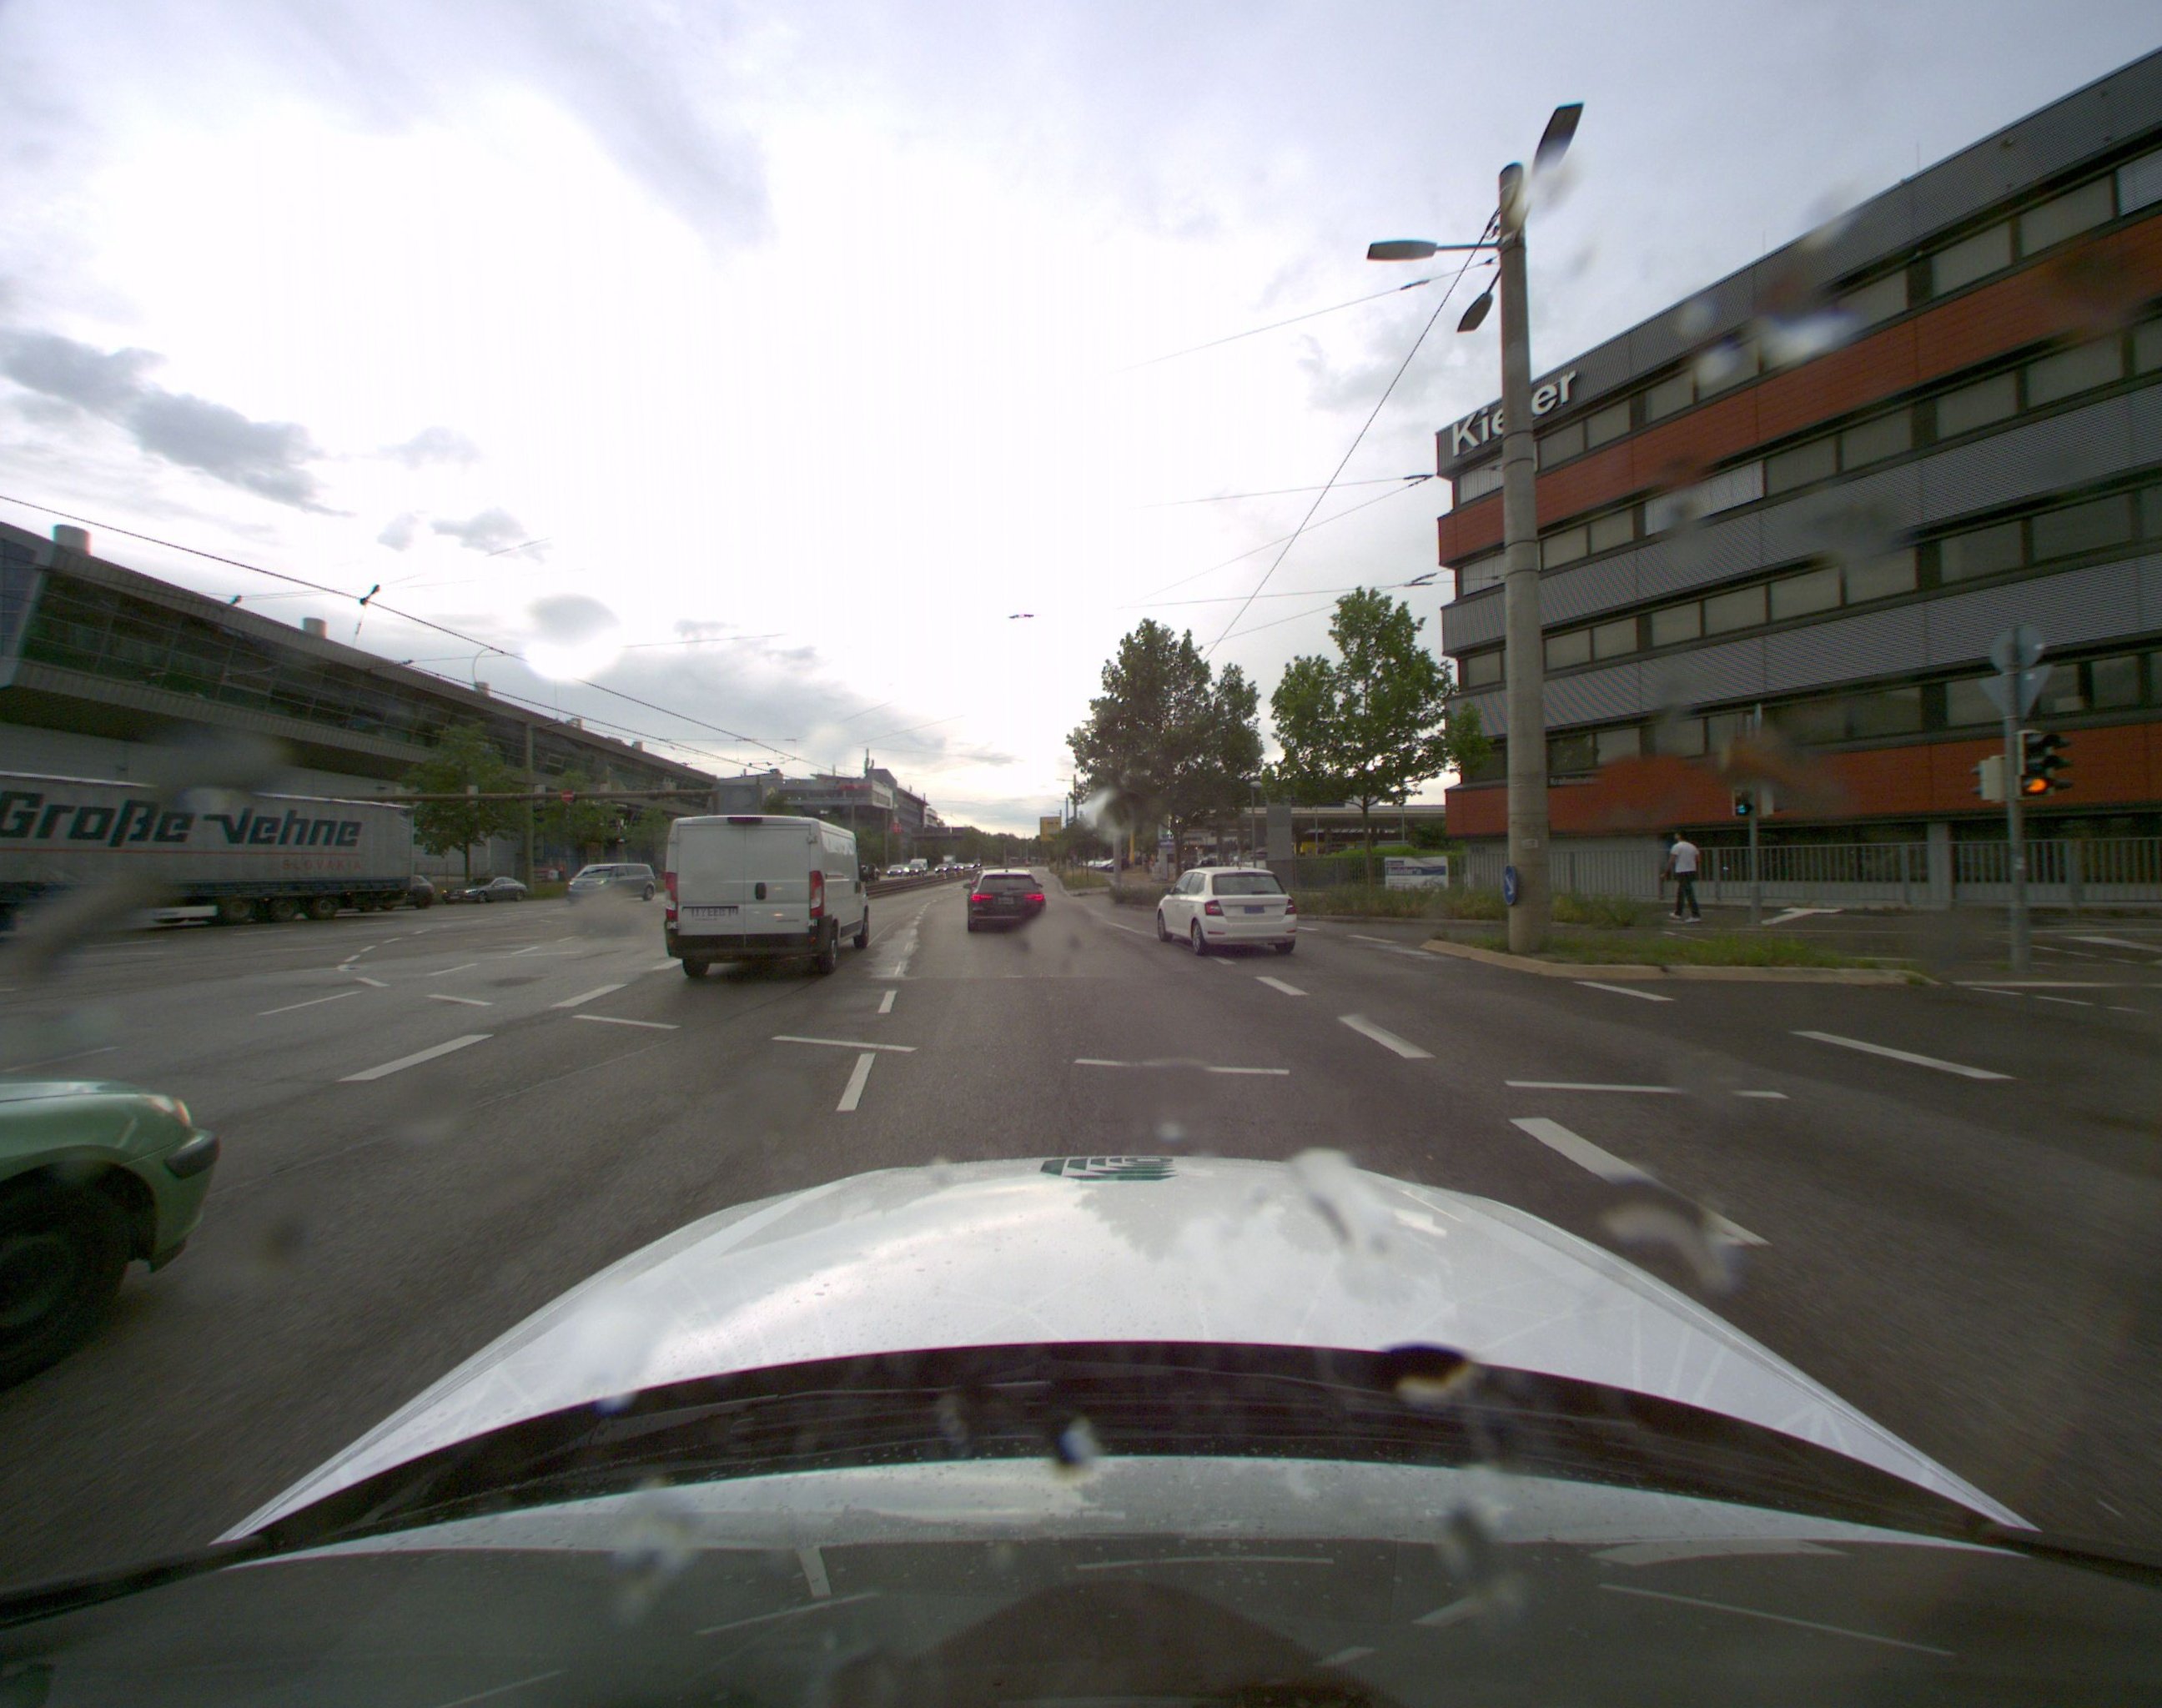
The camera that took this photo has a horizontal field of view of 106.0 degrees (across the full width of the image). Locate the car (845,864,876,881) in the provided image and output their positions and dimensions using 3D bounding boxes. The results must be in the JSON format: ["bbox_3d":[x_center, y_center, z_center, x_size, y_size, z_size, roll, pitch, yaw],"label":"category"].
[{"bbox_3d":[-21.928,1.851,81.145,1.916,1.653,4.195,0,-1,0],"label":"car"}]

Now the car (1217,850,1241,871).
[{"bbox_3d":[15.173,0.707,83.477,1.674,2.014,3.539,2,-1,-2],"label":"car"}]

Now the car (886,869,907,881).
[{"bbox_3d":[-24.869,2.797,109.915,2.155,1.506,4.294,4,-2,-5],"label":"car"}]

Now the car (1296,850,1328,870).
[{"bbox_3d":[24.027,0.622,84.885,1.868,2.014,3.765,2,-1,-7],"label":"car"}]

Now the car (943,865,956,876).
[{"bbox_3d":[-24.200,3.007,149.588,2.156,1.886,4.291,2,-1,-7],"label":"car"}]

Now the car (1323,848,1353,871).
[{"bbox_3d":[24.037,0.540,76.117,1.671,2.014,3.134,2,-1,-3],"label":"car"}]

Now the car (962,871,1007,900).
[{"bbox_3d":[-5.086,1.656,43.435,1.887,1.465,3.909,0,-1,1],"label":"car"}]

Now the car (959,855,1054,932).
[{"bbox_3d":[-1.911,0.862,19.683,1.993,1.637,3.987,0,0,-10],"label":"car"}]

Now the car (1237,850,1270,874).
[{"bbox_3d":[15.681,0.751,74.288,1.989,2.032,3.996,-2,-1,-3],"label":"car"}]

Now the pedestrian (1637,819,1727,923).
[{"bbox_3d":[12.845,0.346,17.463,1.135,2.125,1.227,-2,0,14],"label":"pedestrian"}]

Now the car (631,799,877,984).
[{"bbox_3d":[-4.825,0.517,12.993,2.444,2.294,4.891,-2,-1,-8],"label":"car"}]

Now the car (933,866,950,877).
[{"bbox_3d":[-22.583,2.824,131.605,1.794,1.621,4.955,-1,-1,1],"label":"car"}]

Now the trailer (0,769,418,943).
[{"bbox_3d":[-26.740,0.176,24.459,2.638,4.125,12.754,-1,-1,3],"label":"trailer"}]

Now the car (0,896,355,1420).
[{"bbox_3d":[-4.001,0.894,1.303,1.689,1.468,4.401,1,-1,-1],"label":"car"}]

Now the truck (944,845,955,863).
[{"bbox_3d":[-28.055,0.064,174.008,2.158,3.646,6.852,2,-1,-9],"label":"truck"}]

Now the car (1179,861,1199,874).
[{"bbox_3d":[14.154,1.740,107.048,1.788,1.591,3.995,-1,-1,-4],"label":"car"}]

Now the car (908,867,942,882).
[{"bbox_3d":[-20.251,2.649,105.975,2.139,1.886,4.326,1,-1,26],"label":"car"}]

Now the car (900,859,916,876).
[{"bbox_3d":[-28.340,2.158,133.671,2.158,2.722,5.051,2,-1,-9],"label":"car"}]

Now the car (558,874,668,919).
[{"bbox_3d":[-22.661,1.999,39.672,1.982,1.837,4.920,1,1,8],"label":"car"}]

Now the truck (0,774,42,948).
[{"bbox_3d":[-27.228,0.131,17.077,2.654,4.130,6.192,-1,-1,4],"label":"truck"}]

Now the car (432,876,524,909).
[{"bbox_3d":[-32.902,2.060,44.625,1.992,1.609,4.632,1,-1,-8],"label":"car"}]

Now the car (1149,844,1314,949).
[{"bbox_3d":[2.554,0.717,14.857,1.827,1.656,3.989,0,-1,-8],"label":"car"}]
